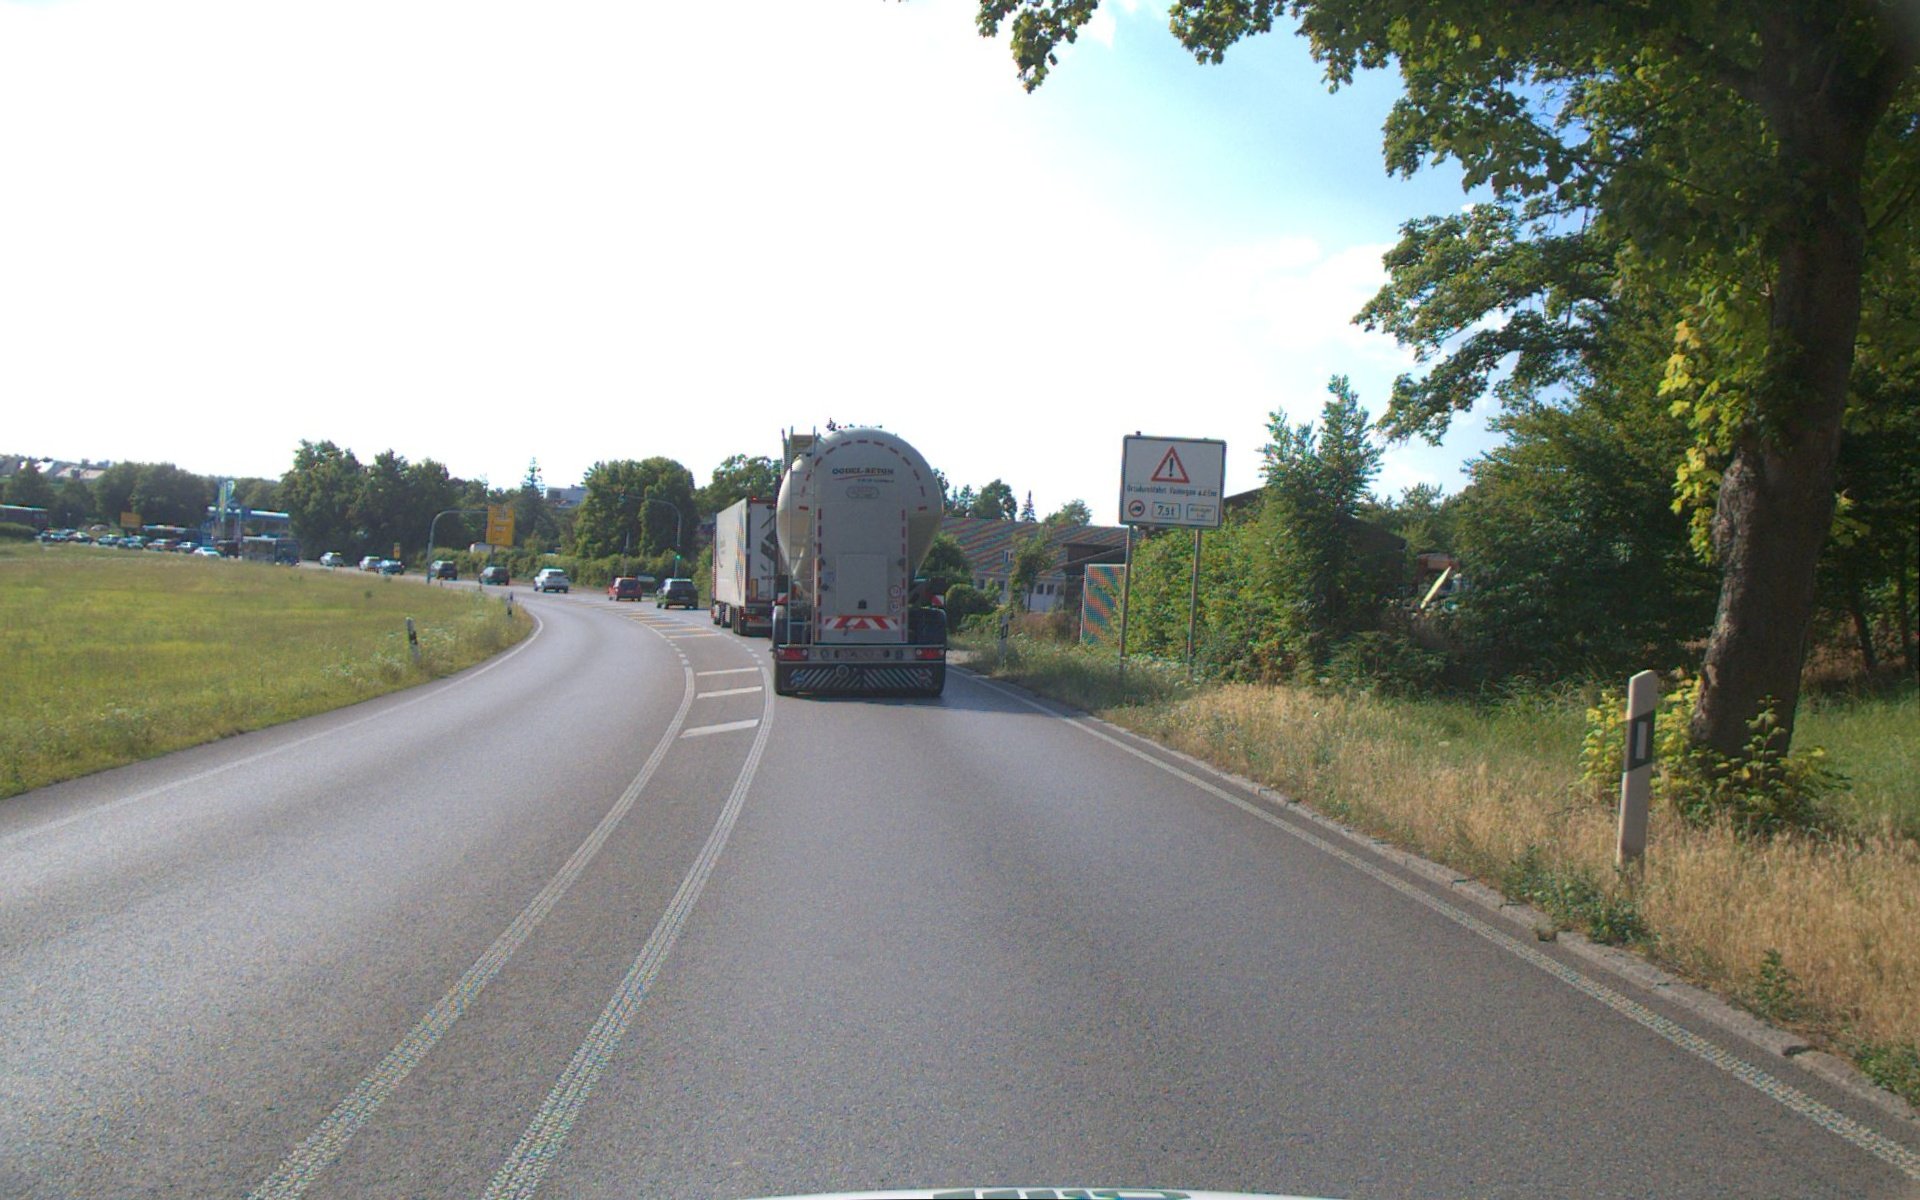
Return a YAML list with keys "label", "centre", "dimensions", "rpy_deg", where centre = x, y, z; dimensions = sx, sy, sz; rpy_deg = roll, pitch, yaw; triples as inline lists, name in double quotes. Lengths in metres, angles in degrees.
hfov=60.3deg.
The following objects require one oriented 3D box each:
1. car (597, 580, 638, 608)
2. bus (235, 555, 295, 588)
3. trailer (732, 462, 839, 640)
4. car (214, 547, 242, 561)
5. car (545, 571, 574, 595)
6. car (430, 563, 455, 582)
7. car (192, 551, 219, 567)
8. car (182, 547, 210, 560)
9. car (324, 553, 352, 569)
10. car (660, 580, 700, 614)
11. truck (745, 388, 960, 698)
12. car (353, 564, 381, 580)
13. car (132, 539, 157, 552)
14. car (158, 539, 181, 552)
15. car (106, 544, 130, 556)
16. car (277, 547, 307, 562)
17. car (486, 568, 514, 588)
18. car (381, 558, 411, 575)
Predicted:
- label: "car"
  centre: [-21.587, -0.389, 104.014]
  dimensions: [2.261, 1.685, 4.397]
  rpy_deg: [1, 0, -15]
- label: "bus"
  centre: [-72.754, -2.956, 172.996]
  dimensions: [2.774, 3.237, 11.962]
  rpy_deg: [2, -1, -38]
- label: "trailer"
  centre: [-5.437, -1.358, 52.064]
  dimensions: [2.907, 4.967, 10.275]
  rpy_deg: [1, 0, -5]
- label: "car"
  centre: [-89.893, -5.674, 203.099]
  dimensions: [2.074, 1.627, 3.940]
  rpy_deg: [1, 1, -41]
- label: "car"
  centre: [-29.782, -1.263, 123.010]
  dimensions: [1.813, 1.685, 3.980]
  rpy_deg: [1, 0, -18]
- label: "car"
  centre: [-47.545, -2.507, 151.930]
  dimensions: [1.502, 1.685, 3.837]
  rpy_deg: [1, -1, -27]
- label: "car"
  centre: [-86.605, -4.716, 189.887]
  dimensions: [1.830, 1.685, 3.941]
  rpy_deg: [2, -1, -40]
- label: "car"
  centre: [-97.932, -5.979, 211.992]
  dimensions: [2.076, 1.627, 3.935]
  rpy_deg: [1, 1, -45]
- label: "car"
  centre: [-70.589, -4.435, 187.617]
  dimensions: [1.961, 1.685, 3.822]
  rpy_deg: [2, -1, -37]
- label: "car"
  centre: [-14.683, -0.129, 86.683]
  dimensions: [1.958, 1.685, 3.989]
  rpy_deg: [1, 0, -11]
- label: "truck"
  centre: [-2.175, -0.757, 28.907]
  dimensions: [2.919, 4.248, 11.644]
  rpy_deg: [1, 0, -7]
- label: "car"
  centre: [-62.718, -2.932, 174.877]
  dimensions: [1.666, 1.586, 3.820]
  rpy_deg: [2, -1, -38]
- label: "car"
  centre: [-108.729, -7.216, 220.434]
  dimensions: [1.873, 1.627, 3.936]
  rpy_deg: [1, 1, -44]
- label: "car"
  centre: [-103.645, -7.097, 216.835]
  dimensions: [1.870, 1.627, 3.943]
  rpy_deg: [1, 1, -40]
- label: "car"
  centre: [-115.077, -6.820, 226.045]
  dimensions: [1.873, 1.627, 3.936]
  rpy_deg: [1, 1, -44]
- label: "car"
  centre: [-76.969, -5.197, 190.526]
  dimensions: [2.072, 1.627, 3.943]
  rpy_deg: [1, 1, -40]
- label: "car"
  centre: [-38.949, -1.848, 139.958]
  dimensions: [1.502, 1.685, 3.837]
  rpy_deg: [1, -1, -27]
- label: "car"
  centre: [-56.243, -3.328, 164.839]
  dimensions: [1.667, 1.586, 3.819]
  rpy_deg: [2, -1, -39]
